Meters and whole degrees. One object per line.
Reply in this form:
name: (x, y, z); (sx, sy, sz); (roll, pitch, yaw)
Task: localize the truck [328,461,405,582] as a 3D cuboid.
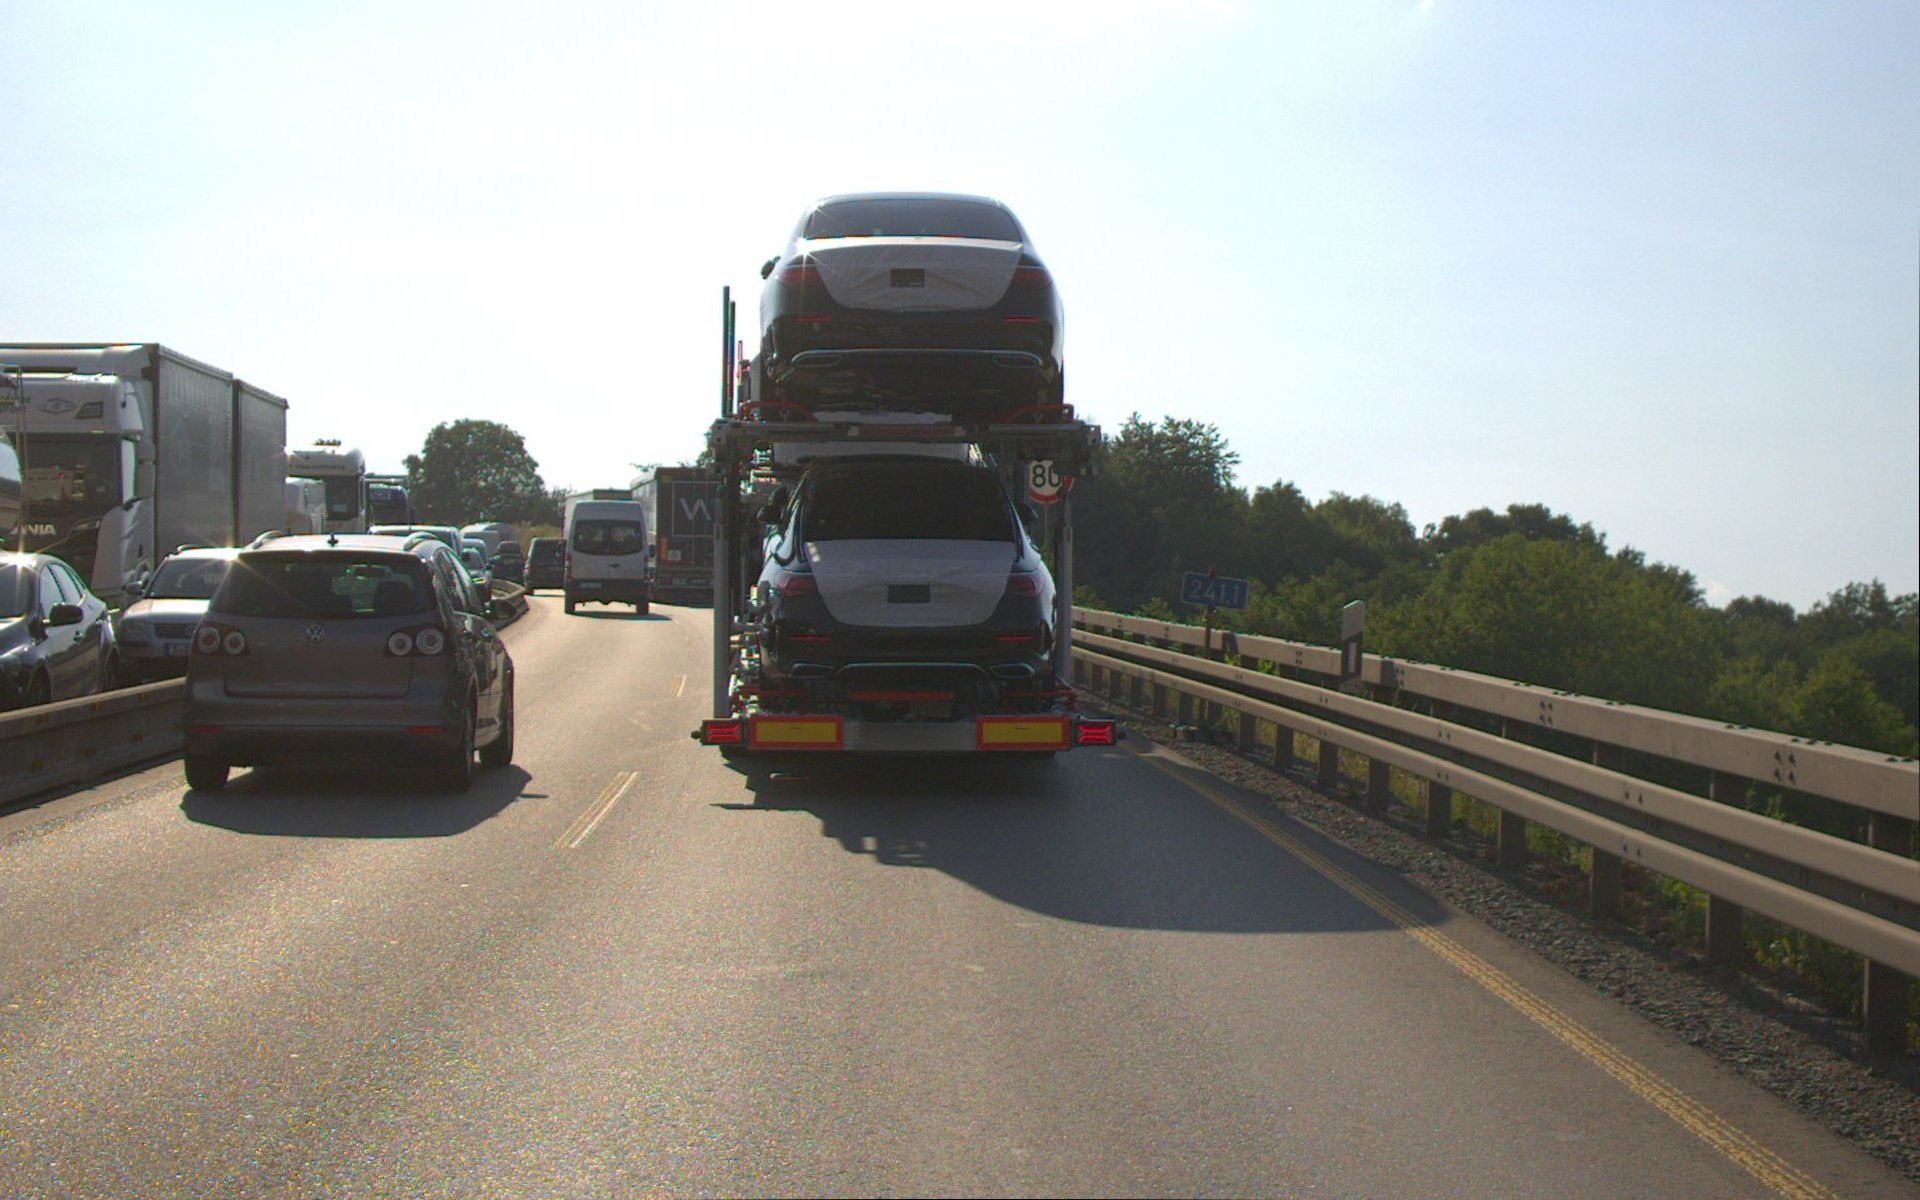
truck: (-20.621, -2.696, 119.660); (2.502, 4.052, 5.666); (1, 0, -9)

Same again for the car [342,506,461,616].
car: (-10.224, -0.716, 63.217); (1.816, 1.919, 4.837); (1, 0, -5)

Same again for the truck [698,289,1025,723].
truck: (-1.233, -0.863, 35.198); (2.837, 3.779, 9.988); (1, 0, -4)

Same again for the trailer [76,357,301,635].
trailer: (-12.481, -1.611, 56.253); (2.442, 4.174, 8.545); (1, 0, -5)

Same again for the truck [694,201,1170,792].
truck: (-0.557, -0.654, 25.743); (2.798, 3.485, 10.607); (1, 0, -4)

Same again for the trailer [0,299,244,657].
trailer: (-11.656, -1.521, 46.769); (2.475, 4.314, 10.513); (1, 0, -5)

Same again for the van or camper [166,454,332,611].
van or camper: (-13.906, -1.282, 67.686); (2.407, 2.881, 7.619); (1, 0, -6)

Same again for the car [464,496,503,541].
car: (-22.042, -3.757, 158.858); (1.629, 2.007, 4.001); (1, 0, -10)

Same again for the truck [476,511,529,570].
truck: (-24.819, -3.203, 186.746); (2.590, 3.159, 6.678); (1, 0, -6)

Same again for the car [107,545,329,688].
car: (-7.857, 0.146, 36.767); (1.627, 1.421, 4.658); (1, 0, -4)

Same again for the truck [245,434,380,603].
truck: (-15.037, -1.847, 80.213); (2.600, 3.741, 6.518); (1, 0, -7)

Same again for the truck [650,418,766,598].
truck: (-7.801, -2.717, 105.407); (3.285, 5.219, 9.937); (1, 0, -5)

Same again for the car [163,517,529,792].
car: (-3.848, 0.301, 22.133); (1.691, 1.590, 4.000); (1, 0, -1)

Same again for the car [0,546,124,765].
car: (-7.137, 0.331, 24.441); (1.627, 1.421, 4.388); (1, 0, -4)

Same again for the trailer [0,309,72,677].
trailer: (-10.868, -1.083, 32.607); (2.306, 3.777, 12.054); (1, 0, -3)

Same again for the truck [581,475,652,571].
truck: (-13.517, -2.970, 135.767); (2.530, 3.635, 8.907); (1, 0, -4)

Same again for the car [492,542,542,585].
car: (-18.552, -1.539, 144.028); (1.826, 1.766, 4.001); (1, 0, -4)

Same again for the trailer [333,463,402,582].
trailer: (-21.818, -2.766, 126.803); (2.306, 4.116, 14.605); (1, 0, -9)

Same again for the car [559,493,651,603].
car: (-8.373, -1.209, 81.453); (1.920, 2.484, 5.409); (1, 0, -4)
